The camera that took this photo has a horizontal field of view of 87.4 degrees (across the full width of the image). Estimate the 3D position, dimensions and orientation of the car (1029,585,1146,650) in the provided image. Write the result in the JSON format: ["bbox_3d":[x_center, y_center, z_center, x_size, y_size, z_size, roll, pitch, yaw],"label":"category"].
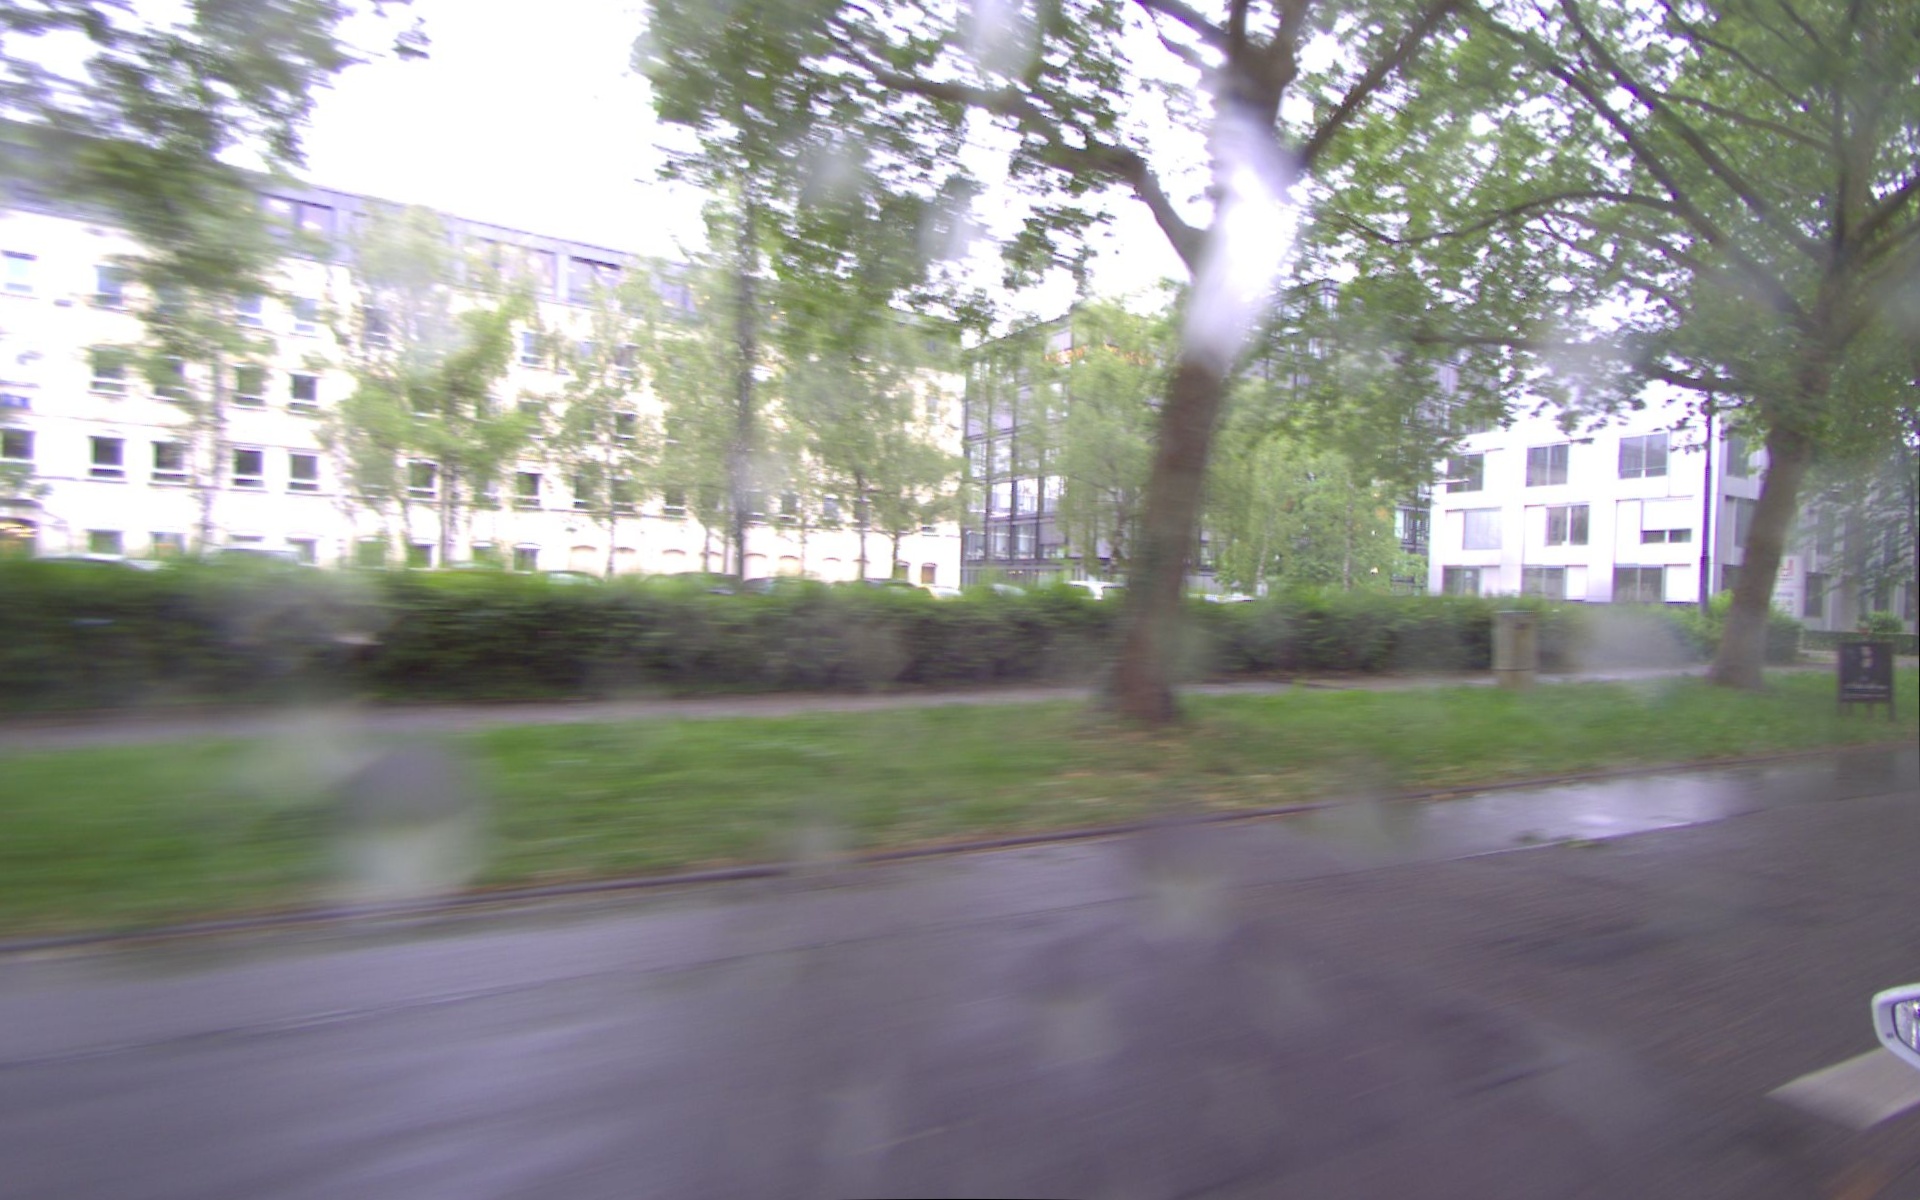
[{"bbox_3d":[4.222,0.577,33.772,1.975,2.040,3.970,1,-1,-28],"label":"car"}]

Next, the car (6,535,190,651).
[{"bbox_3d":[-16.982,-0.113,20.021,1.976,2.040,3.969,1,0,-29],"label":"car"}]

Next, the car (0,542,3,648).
[{"bbox_3d":[-19.578,-0.111,18.380,1.975,2.161,3.970,1,0,-29],"label":"car"}]

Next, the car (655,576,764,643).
[{"bbox_3d":[-6.821,0.211,27.076,1.800,1.617,3.966,1,1,-31],"label":"car"}]

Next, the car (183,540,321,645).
[{"bbox_3d":[-15.172,-0.128,21.741,1.976,2.040,3.969,1,0,-29],"label":"car"}]
